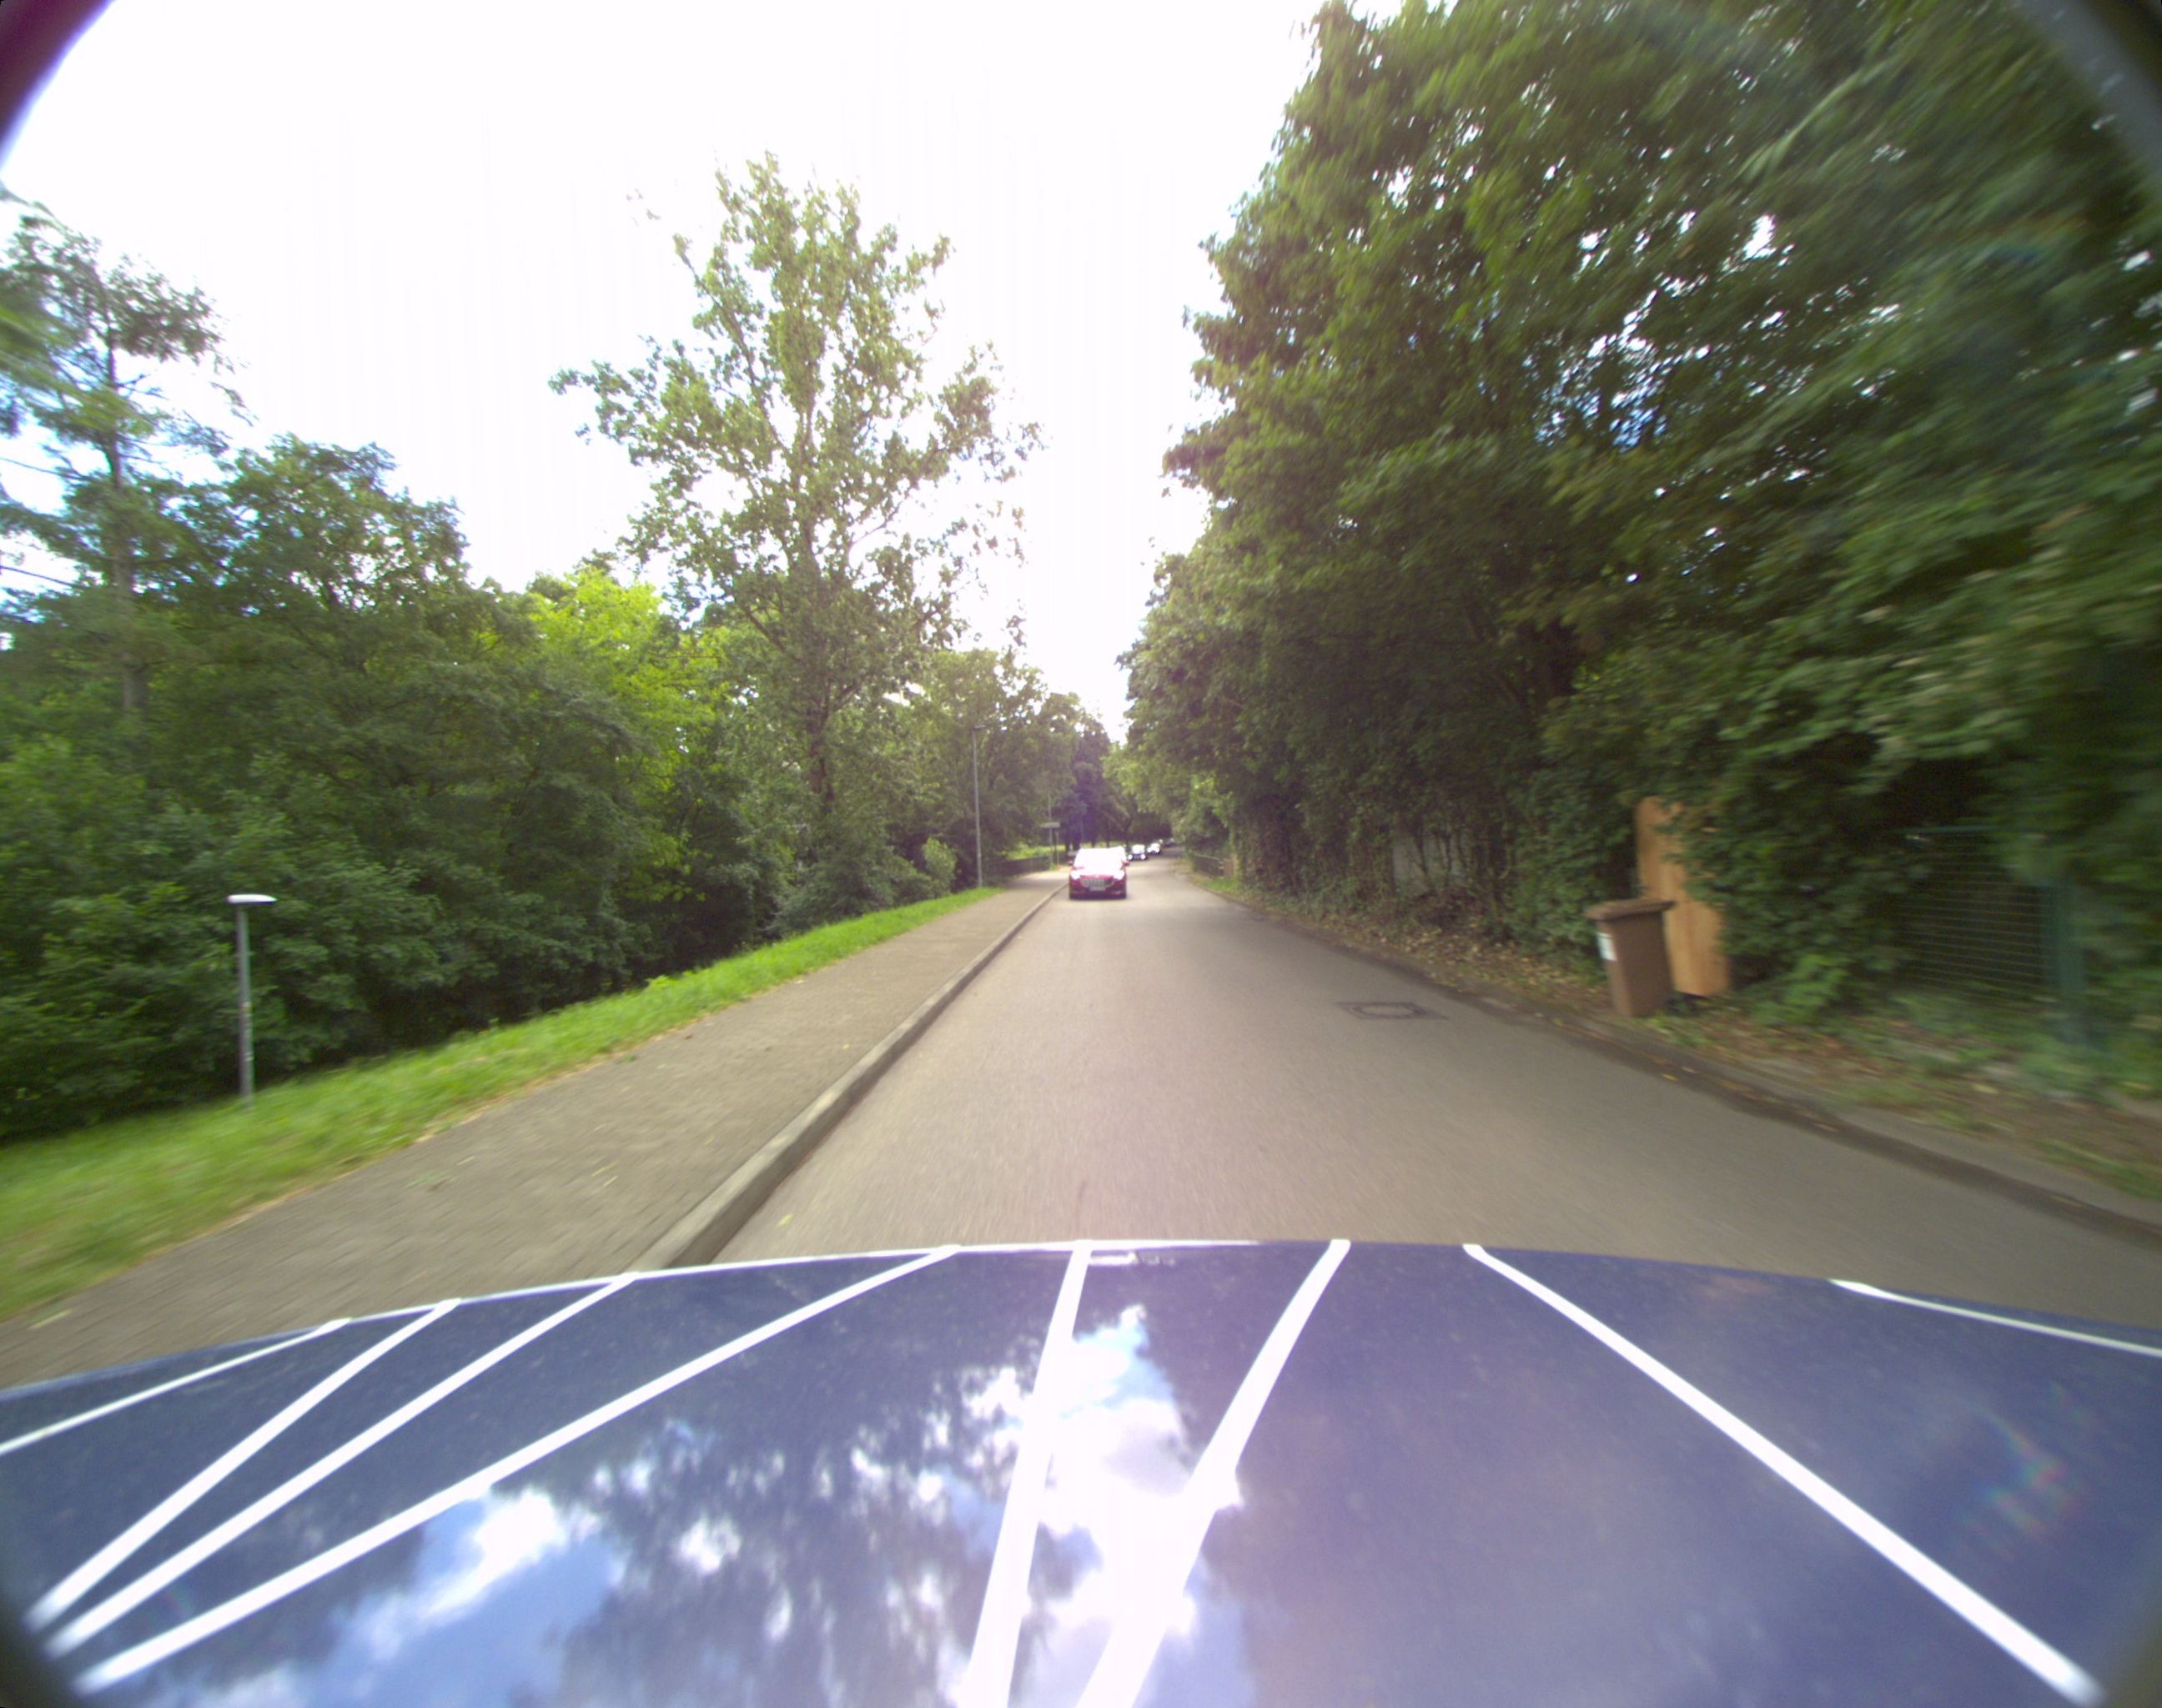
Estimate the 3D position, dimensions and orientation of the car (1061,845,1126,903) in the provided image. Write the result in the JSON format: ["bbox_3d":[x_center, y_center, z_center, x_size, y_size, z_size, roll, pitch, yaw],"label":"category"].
[{"bbox_3d":[0.503,0.584,24.990,1.816,1.717,4.001,0,1,5],"label":"car"}]

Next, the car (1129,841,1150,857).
[{"bbox_3d":[6.143,-0.517,79.589,1.998,1.521,4.001,-1,1,6],"label":"car"}]

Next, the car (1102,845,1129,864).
[{"bbox_3d":[2.945,0.022,64.214,1.998,1.521,4.001,-1,1,6],"label":"car"}]

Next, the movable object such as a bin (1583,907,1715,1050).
[{"bbox_3d":[4.466,0.954,6.015,0.649,1.007,0.632,-1,1,16],"label":"movable object such as a bin"}]

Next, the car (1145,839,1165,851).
[{"bbox_3d":[9.414,-1.161,95.933,1.996,1.521,4.003,-1,1,13],"label":"car"}]
